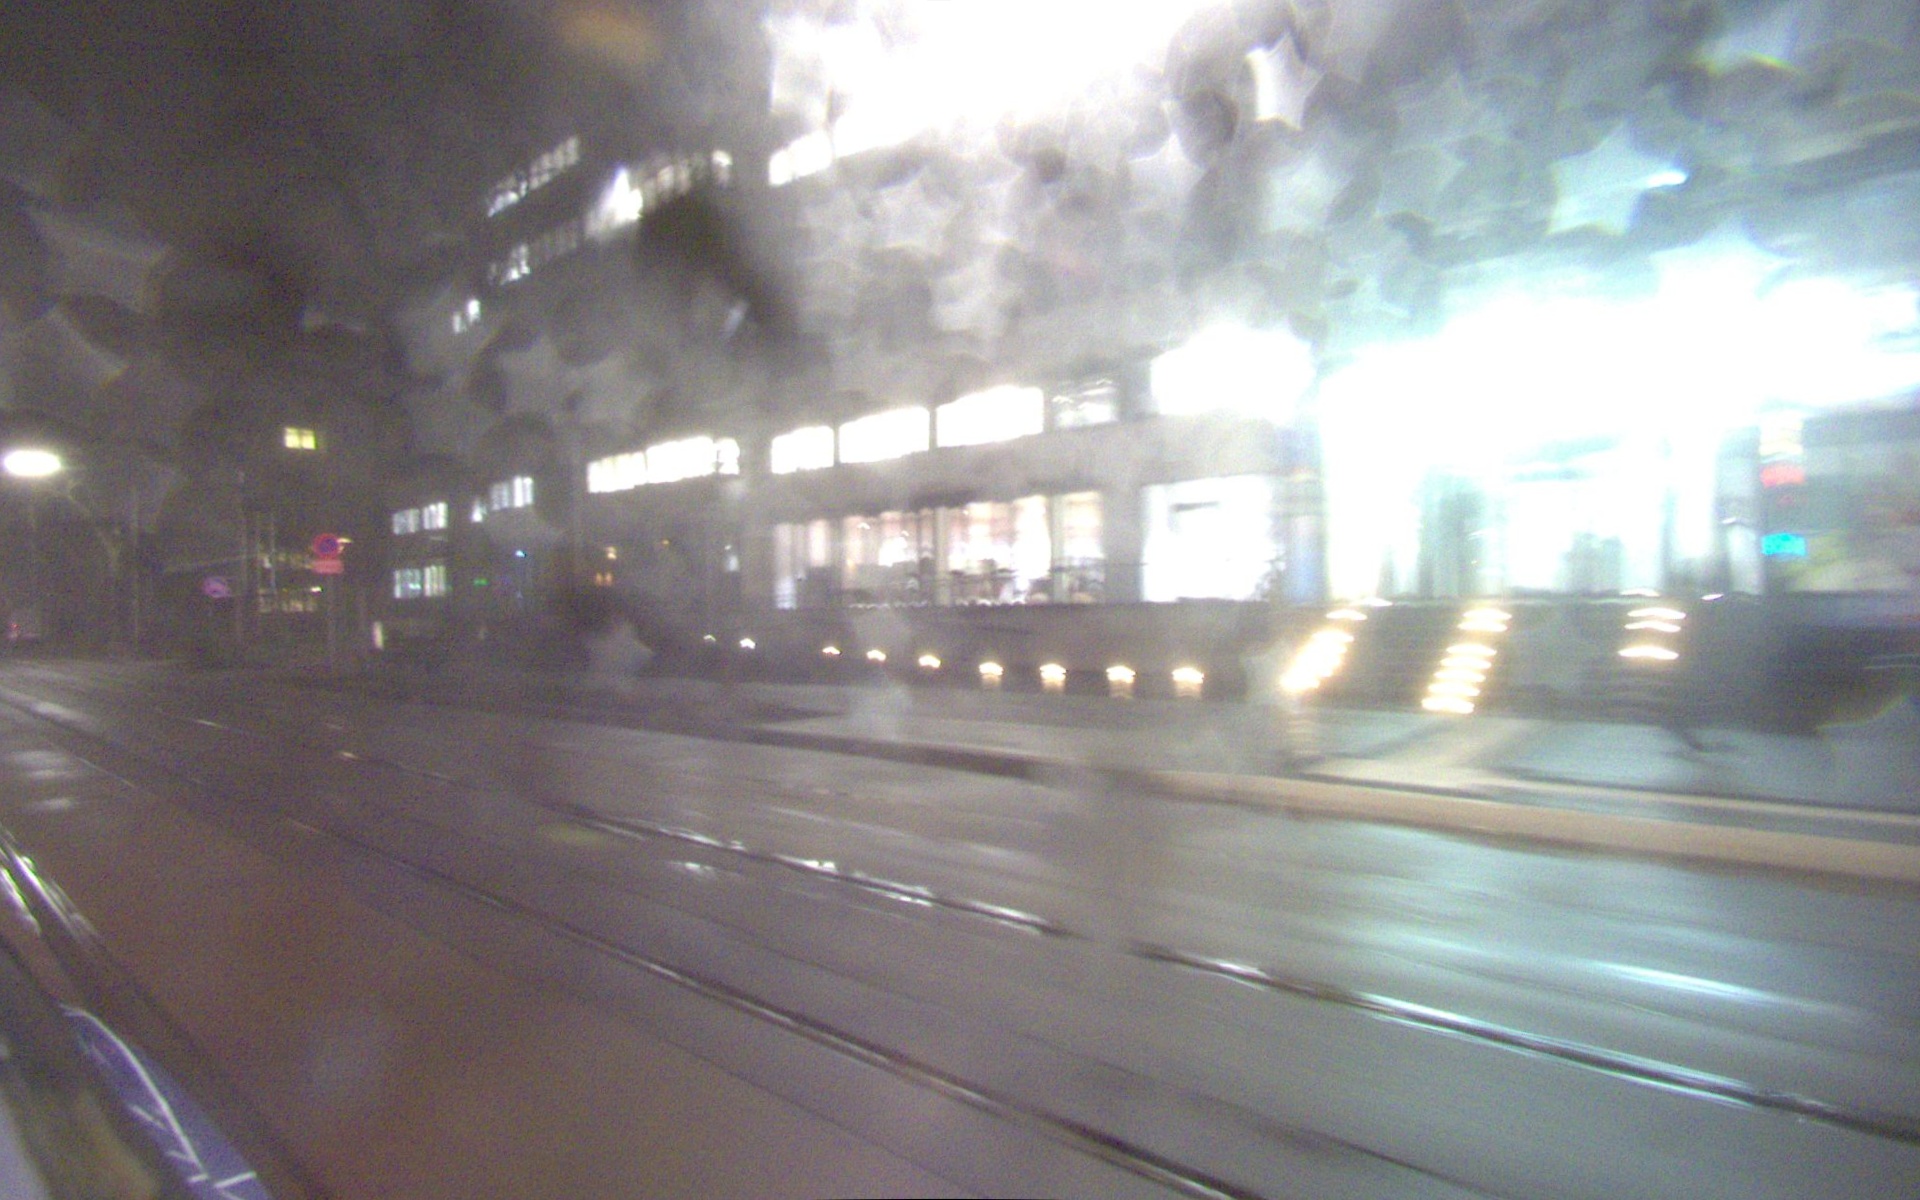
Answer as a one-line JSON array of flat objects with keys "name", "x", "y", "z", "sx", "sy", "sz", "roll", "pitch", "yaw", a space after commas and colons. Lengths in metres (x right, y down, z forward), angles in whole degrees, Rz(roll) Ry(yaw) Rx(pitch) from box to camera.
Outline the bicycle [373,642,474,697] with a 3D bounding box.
[{"name": "bicycle", "x": -11.757, "y": 1.502, "z": 22.223, "sx": 0.627, "sy": 1.086, "sz": 1.834, "roll": -1, "pitch": 0, "yaw": 41}]

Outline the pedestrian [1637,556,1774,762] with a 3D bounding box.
[{"name": "pedestrian", "x": 6.576, "y": 0.489, "z": 8.927, "sx": 0.882, "sy": 1.699, "sz": 0.778, "roll": -1, "pitch": 0, "yaw": 41}]

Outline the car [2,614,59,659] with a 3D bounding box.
[{"name": "car", "x": -57.913, "y": 2.285, "z": 63.002, "sx": 6.392, "sy": 2.611, "sz": 2.161, "roll": -2, "pitch": -1, "yaw": 44}]
